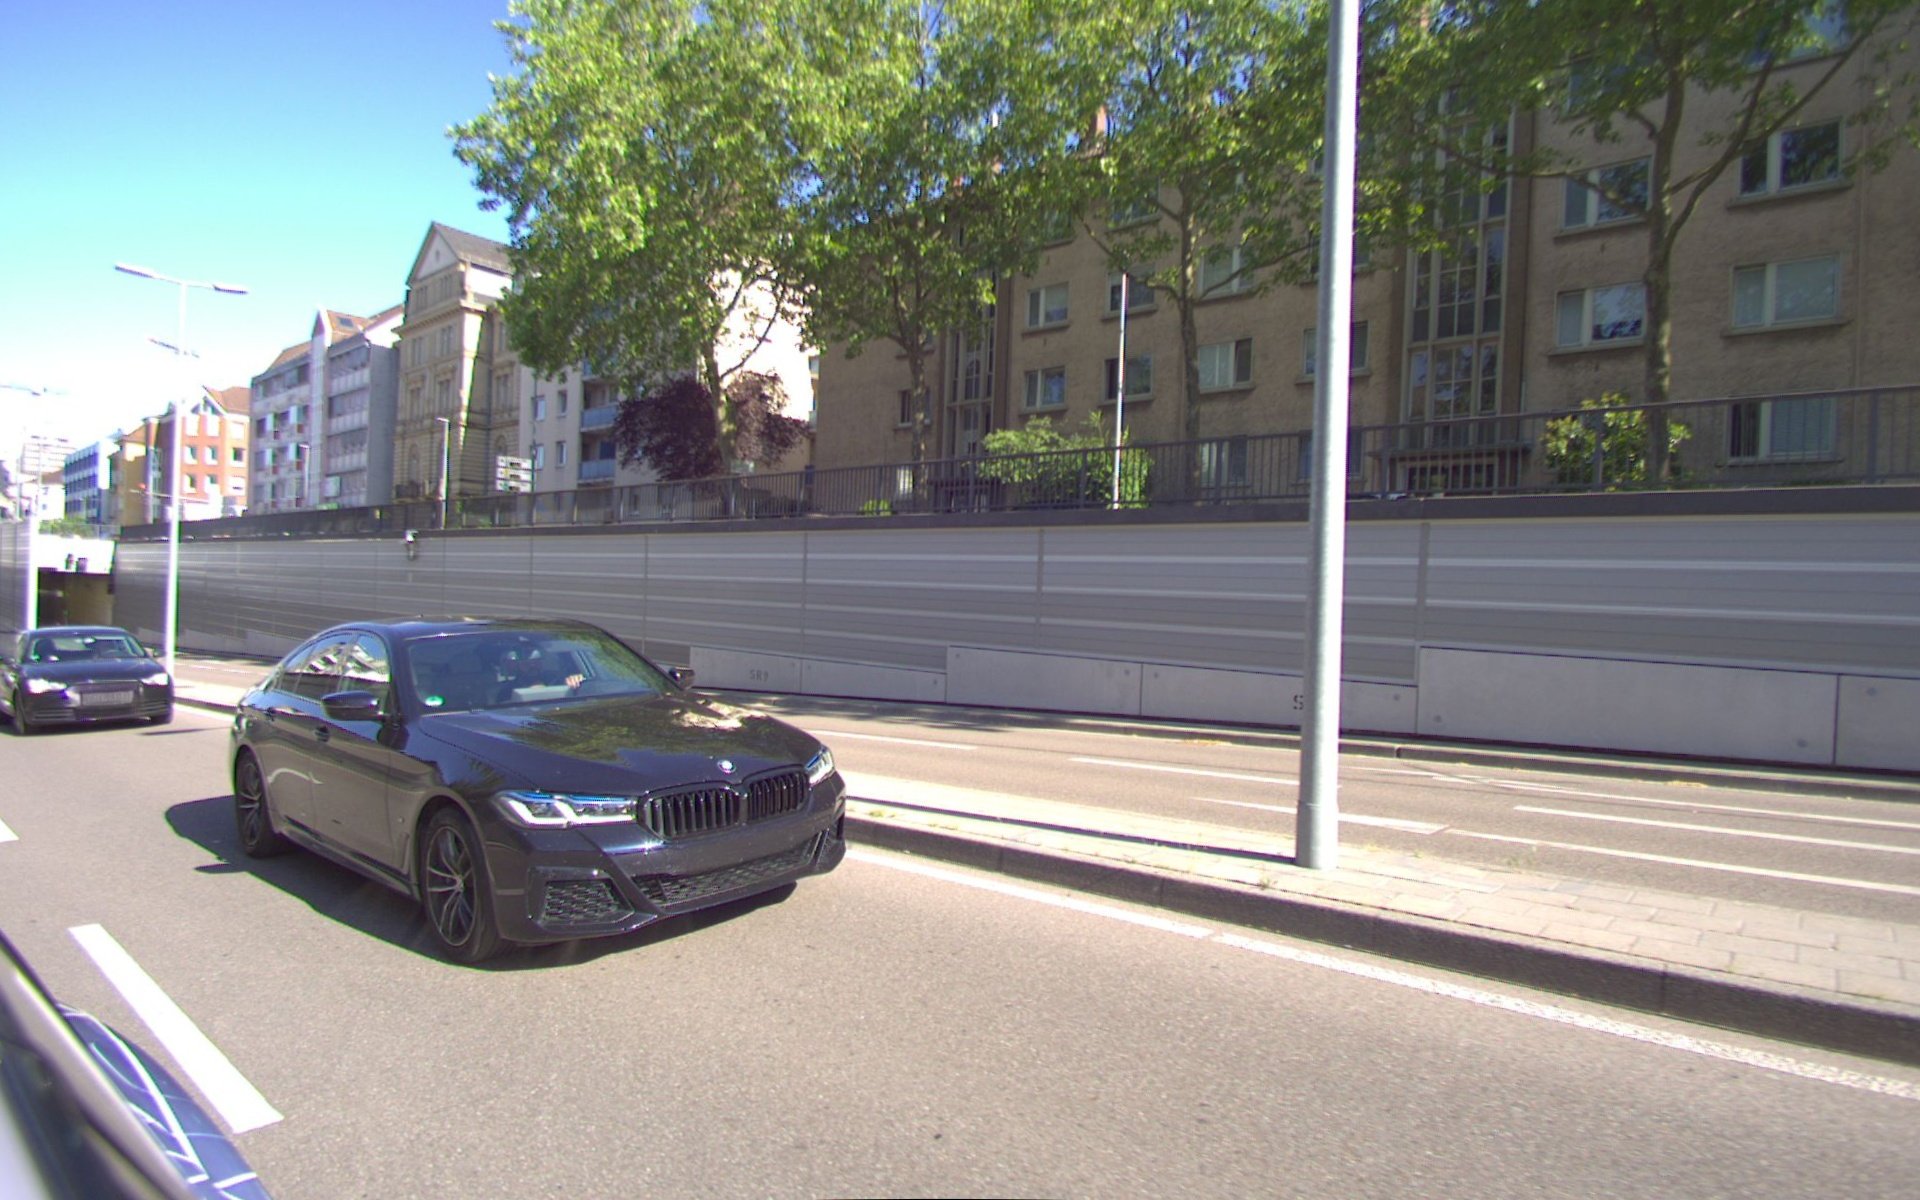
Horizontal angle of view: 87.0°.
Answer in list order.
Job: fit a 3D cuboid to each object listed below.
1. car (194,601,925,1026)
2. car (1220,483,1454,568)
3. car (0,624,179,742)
[{"bbox_3d":[-2.646,0.774,5.814,4.999,1.450,1.790,-1,0,41],"label":"car"},{"bbox_3d":[7.947,-1.496,21.552,4.300,1.596,1.902,1,1,39],"label":"car"},{"bbox_3d":[-12.793,1.094,14.591,3.886,1.429,1.678,-1,0,41],"label":"car"}]
